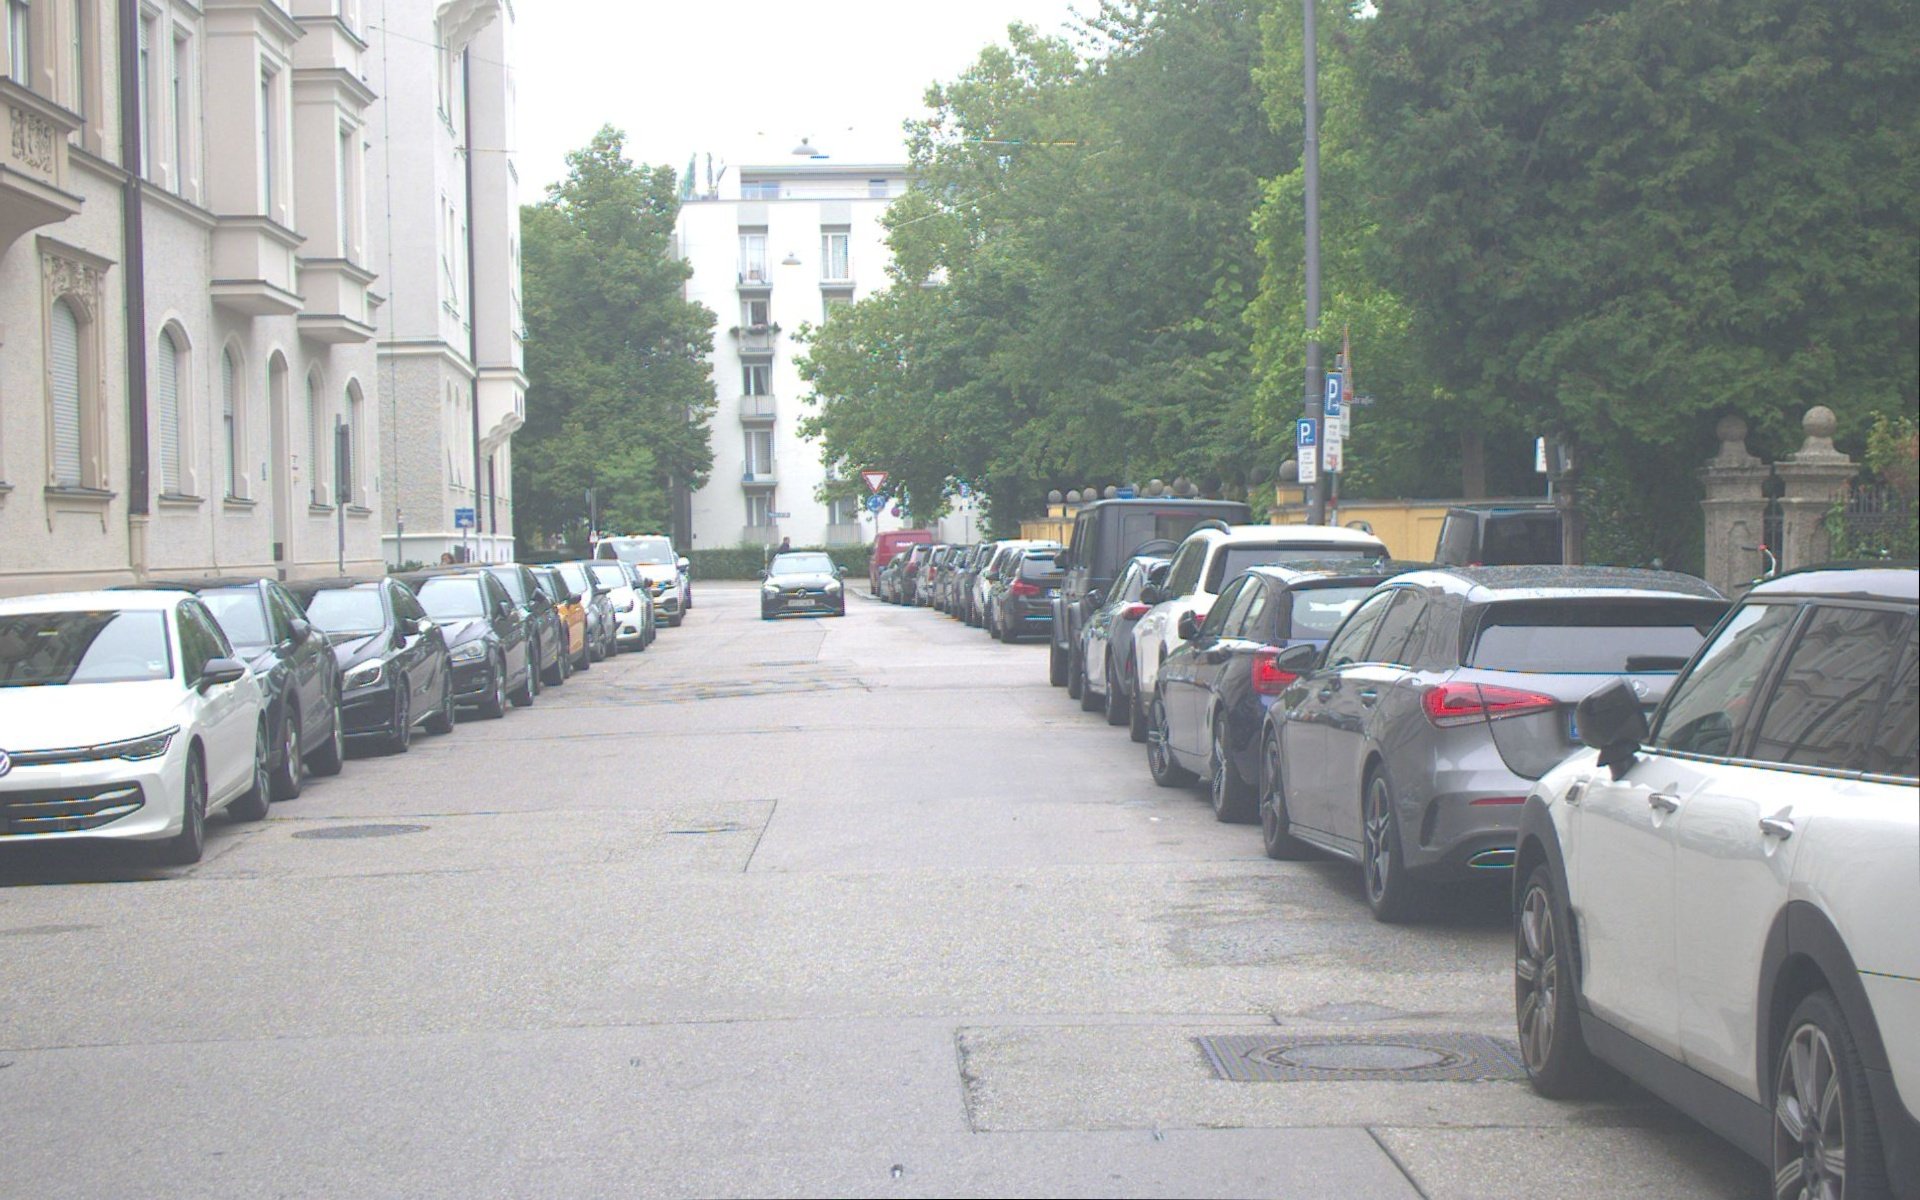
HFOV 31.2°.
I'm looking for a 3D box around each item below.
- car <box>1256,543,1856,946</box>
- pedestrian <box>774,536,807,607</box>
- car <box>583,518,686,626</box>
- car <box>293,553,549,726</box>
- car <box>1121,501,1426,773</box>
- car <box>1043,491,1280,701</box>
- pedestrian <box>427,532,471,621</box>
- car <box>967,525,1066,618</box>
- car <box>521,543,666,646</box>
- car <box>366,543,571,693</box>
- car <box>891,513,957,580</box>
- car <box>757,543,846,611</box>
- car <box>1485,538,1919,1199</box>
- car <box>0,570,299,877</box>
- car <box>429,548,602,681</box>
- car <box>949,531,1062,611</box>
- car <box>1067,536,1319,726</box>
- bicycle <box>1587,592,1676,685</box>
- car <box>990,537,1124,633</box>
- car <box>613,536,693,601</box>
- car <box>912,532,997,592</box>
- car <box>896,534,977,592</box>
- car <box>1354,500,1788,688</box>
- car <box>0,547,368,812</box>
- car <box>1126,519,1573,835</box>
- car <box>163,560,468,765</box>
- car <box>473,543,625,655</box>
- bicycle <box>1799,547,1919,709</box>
[{"bbox_3d":[2.428,0.509,14.984,1.683,1.499,4.019,0,1,-4],"label":"car"},{"bbox_3d":[-5.553,-0.939,112.678,0.841,2.277,0.843,-2,1,-17],"label":"pedestrian"},{"bbox_3d":[-6.927,-0.639,73.555,1.886,2.120,4.707,-4,2,-3],"label":"car"},{"bbox_3d":[-5.272,0.337,34.111,1.836,1.431,4.245,-4,2,-1],"label":"car"},{"bbox_3d":[2.189,0.220,25.066,1.723,1.763,4.413,1,1,-1],"label":"car"},{"bbox_3d":[1.953,-0.111,34.690,1.950,1.947,4.666,0,2,-2],"label":"car"},{"bbox_3d":[-9.759,-0.448,65.709,0.792,1.673,0.700,-1,1,-8],"label":"pedestrian"},{"bbox_3d":[1.005,-0.525,62.748,1.513,1.656,3.675,0,1,-4],"label":"car"},{"bbox_3d":[-5.824,-0.121,55.071,1.836,1.433,4.275,-4,2,-1],"label":"car"},{"bbox_3d":[-5.582,0.165,39.488,1.753,1.494,4.019,-3,2,-1],"label":"car"},{"bbox_3d":[-1.064,-1.617,103.255,1.836,1.920,4.005,1,2,1],"label":"car"},{"bbox_3d":[-3.556,-0.542,76.433,1.874,1.423,4.410,-1,1,-4],"label":"car"},{"bbox_3d":[2.427,0.615,7.752,1.784,1.499,4.065,0,1,-1],"label":"car"},{"bbox_3d":[-5.000,0.629,19.443,1.836,1.429,4.245,-3,2,-3],"label":"car"},{"bbox_3d":[-5.714,0.150,44.605,1.640,1.494,3.972,-4,2,0],"label":"car"},{"bbox_3d":[0.871,-0.576,67.936,1.838,1.546,3.948,0,1,-5],"label":"car"},{"bbox_3d":[1.961,0.233,29.881,1.722,1.513,3.631,1,1,-3],"label":"car"},{"bbox_3d":[5.972,0.332,30.618,0.513,0.779,1.354,-1,1,0],"label":"bicycle"},{"bbox_3d":[1.447,-0.248,52.971,1.838,1.408,4.343,0,1,-1],"label":"car"},{"bbox_3d":[-8.646,-0.904,97.182,2.015,1.628,4.414,-4,2,-3],"label":"car"},{"bbox_3d":[-0.165,-0.969,87.628,1.838,1.513,3.948,0,1,-5],"label":"car"},{"bbox_3d":[-0.641,-0.984,91.428,1.838,1.513,3.948,0,1,-5],"label":"car"},{"bbox_3d":[7.002,-0.100,39.627,4.528,1.943,1.904,-2,3,-7],"label":"car"},{"bbox_3d":[-5.338,0.471,24.035,1.770,1.513,4.386,-4,2,-3],"label":"car"},{"bbox_3d":[2.136,0.351,20.073,1.750,1.605,4.425,1,2,-5],"label":"car"},{"bbox_3d":[-5.328,0.458,28.954,1.833,1.429,4.554,-3,2,-2],"label":"car"},{"bbox_3d":[-5.955,-0.036,50.174,1.726,1.494,3.930,-3,1,-1],"label":"car"},{"bbox_3d":[6.307,0.180,24.089,0.454,1.095,1.314,-1,1,-3],"label":"bicycle"}]
